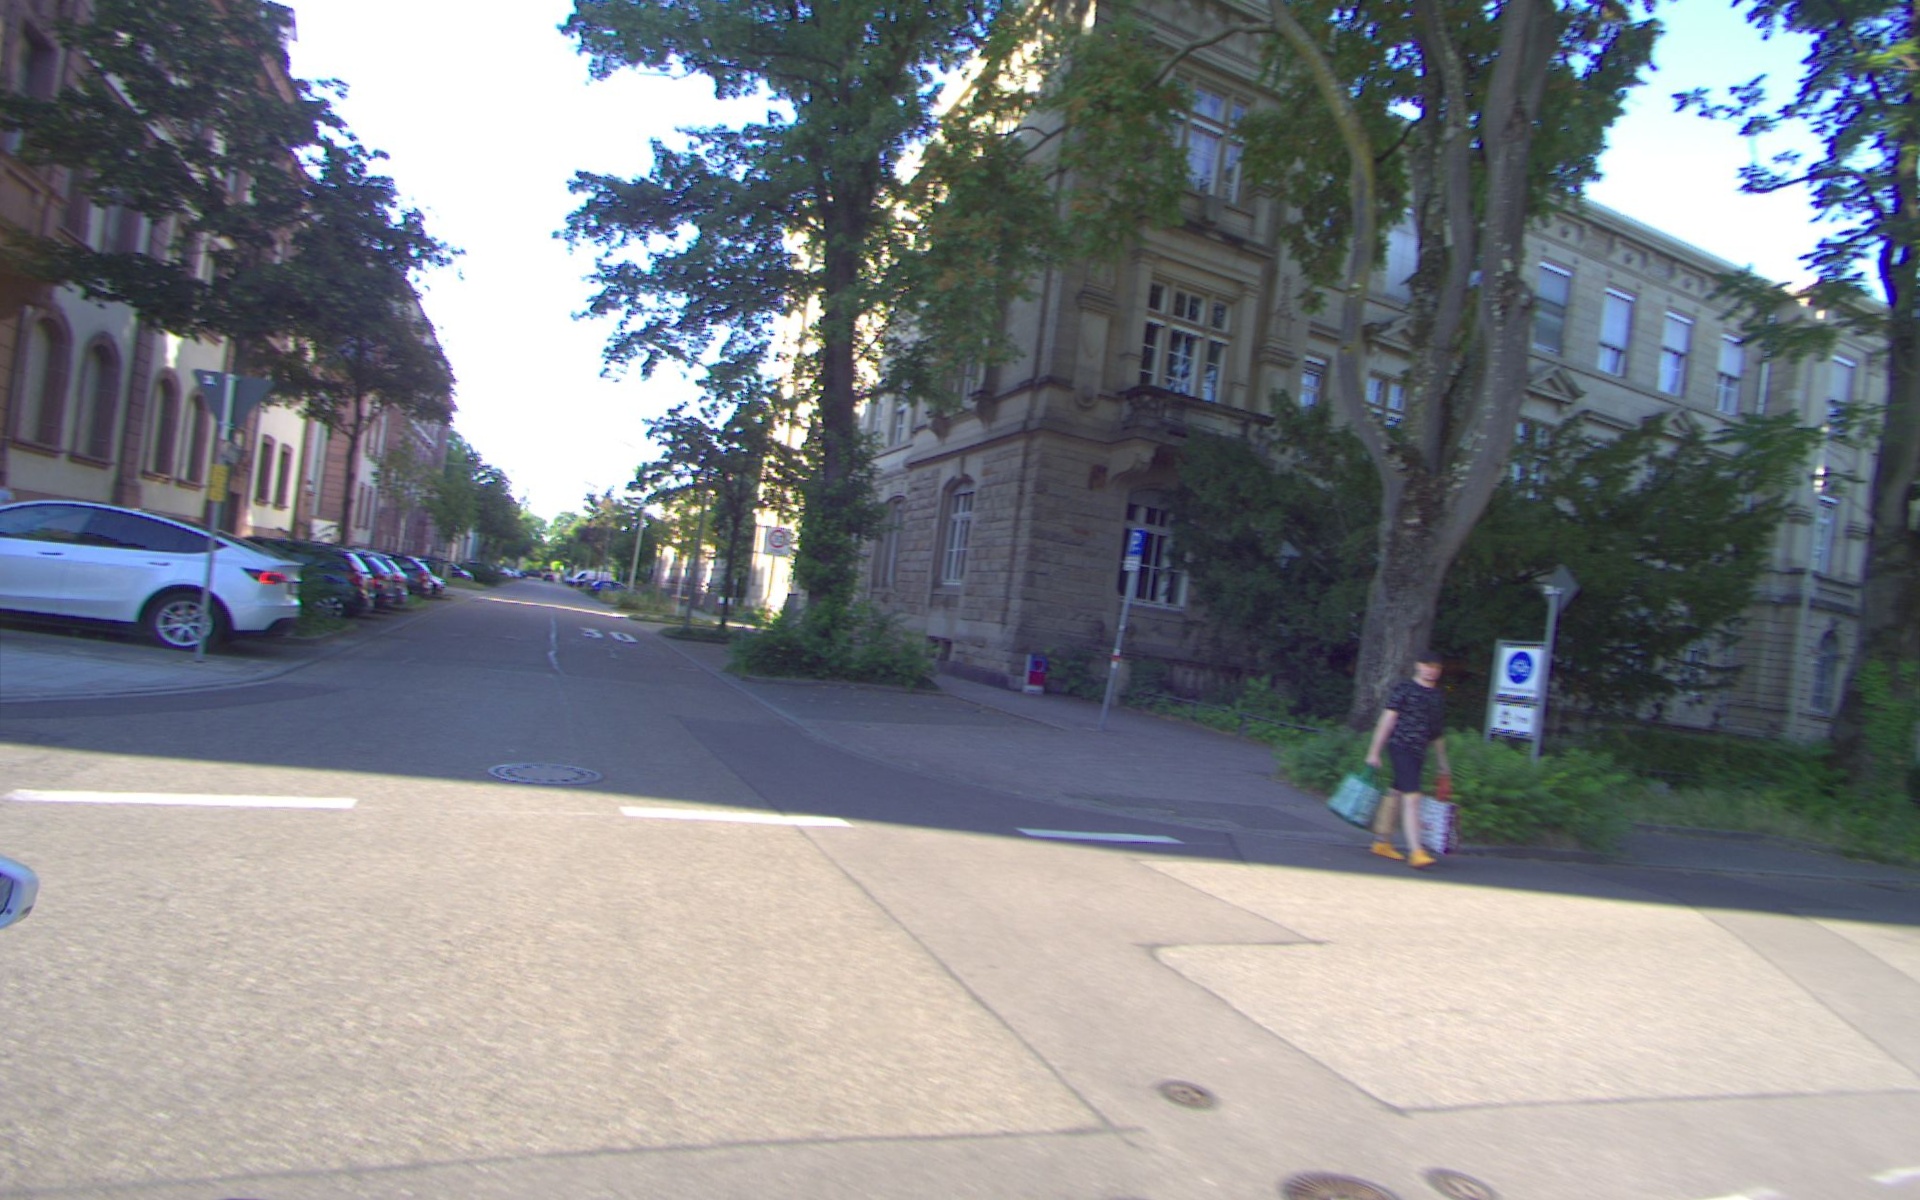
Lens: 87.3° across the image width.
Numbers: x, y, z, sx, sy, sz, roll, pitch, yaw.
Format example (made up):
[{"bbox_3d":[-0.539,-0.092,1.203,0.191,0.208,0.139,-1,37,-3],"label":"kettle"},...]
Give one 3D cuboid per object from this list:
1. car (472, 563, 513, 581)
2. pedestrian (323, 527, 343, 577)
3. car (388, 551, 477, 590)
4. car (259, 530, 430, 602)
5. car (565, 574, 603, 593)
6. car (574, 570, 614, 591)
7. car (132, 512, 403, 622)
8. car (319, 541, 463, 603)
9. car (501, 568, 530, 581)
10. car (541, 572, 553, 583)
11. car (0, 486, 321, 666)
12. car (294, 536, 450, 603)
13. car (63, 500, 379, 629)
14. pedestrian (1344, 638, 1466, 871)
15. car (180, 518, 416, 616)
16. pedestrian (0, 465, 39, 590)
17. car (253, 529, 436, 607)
[{"bbox_3d":[-53.753,-3.185,115.639,4.049,1.511,1.923,8,-1,-23],"label":"car"},{"bbox_3d":[-26.164,-2.001,41.993,0.430,2.037,0.461,7,0,-23],"label":"pedestrian"},{"bbox_3d":[-30.890,-1.737,59.048,4.339,1.513,1.956,10,-2,-23],"label":"car"},{"bbox_3d":[-19.707,-1.077,32.466,4.344,1.513,1.955,10,-2,-26],"label":"car"},{"bbox_3d":[-43.945,-1.896,117.503,3.949,1.637,1.779,8,-1,-23],"label":"car"},{"bbox_3d":[-48.260,-2.595,132.553,4.659,2.128,1.990,8,-1,-23],"label":"car"},{"bbox_3d":[-14.573,-0.650,21.532,4.344,1.513,1.955,10,-2,-26],"label":"car"},{"bbox_3d":[-20.842,-1.016,37.085,4.344,1.513,1.955,10,-2,-26],"label":"car"},{"bbox_3d":[-72.143,-4.107,163.390,4.049,1.511,1.923,8,-1,-23],"label":"car"},{"bbox_3d":[-78.446,-4.265,190.931,1.728,1.726,3.651,8,-1,-26],"label":"car"},{"bbox_3d":[-10.848,-0.418,12.353,4.670,1.606,1.954,11,-2,-26],"label":"car"},{"bbox_3d":[-20.281,-1.034,34.950,4.344,1.513,1.955,10,-2,-26],"label":"car"},{"bbox_3d":[-13.658,-0.609,18.984,4.343,1.603,1.955,10,-2,-26],"label":"car"},{"bbox_3d":[4.024,1.369,9.086,0.606,1.942,0.718,7,0,44],"label":"pedestrian"},{"bbox_3d":[-15.677,-0.758,24.157,4.344,1.513,1.955,10,-2,-26],"label":"car"},{"bbox_3d":[-14.830,-1.141,15.360,0.717,1.861,0.610,10,-1,-21],"label":"pedestrian"},{"bbox_3d":[-18.343,-0.933,30.265,4.344,1.513,1.955,10,-2,-26],"label":"car"}]
